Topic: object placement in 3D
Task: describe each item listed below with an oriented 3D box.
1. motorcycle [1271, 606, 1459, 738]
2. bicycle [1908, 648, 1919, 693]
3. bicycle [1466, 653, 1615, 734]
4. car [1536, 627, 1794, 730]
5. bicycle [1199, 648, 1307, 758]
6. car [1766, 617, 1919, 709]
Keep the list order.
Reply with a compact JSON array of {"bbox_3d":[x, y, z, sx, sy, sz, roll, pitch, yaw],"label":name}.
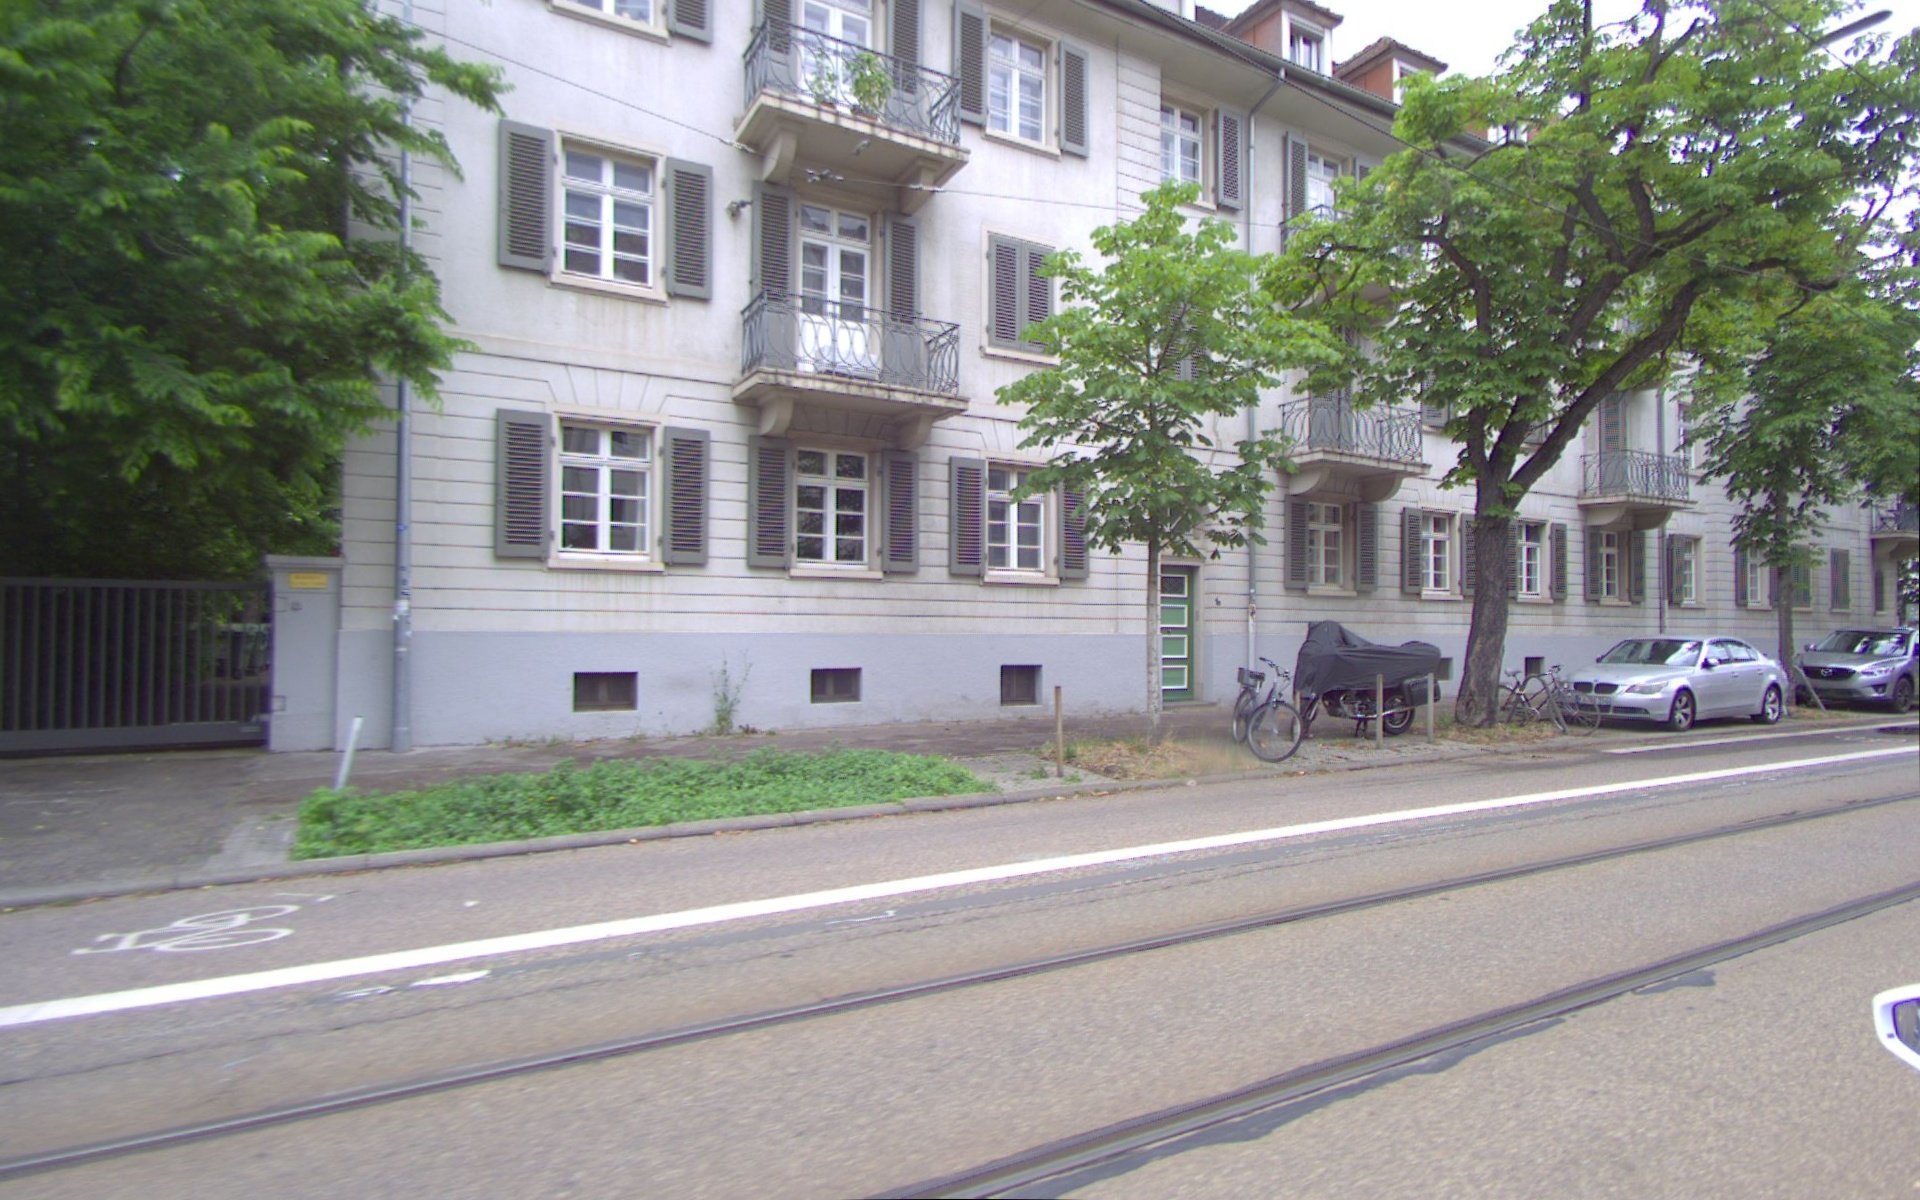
[{"bbox_3d":[5.456,0.938,13.524,2.443,1.665,0.831,1,-2,-22],"label":"motorcycle"},{"bbox_3d":[22.560,1.638,22.716,0.917,1.018,1.372,1,1,-25],"label":"bicycle"},{"bbox_3d":[8.628,1.362,15.008,0.558,1.041,1.883,1,0,-33],"label":"bicycle"},{"bbox_3d":[11.762,1.210,16.696,4.560,1.485,1.803,1,-1,-30],"label":"car"},{"bbox_3d":[3.503,1.197,12.142,0.509,1.144,1.744,0,0,-11],"label":"bicycle"},{"bbox_3d":[18.701,1.226,20.639,4.240,1.683,1.830,1,1,-29],"label":"car"}]
